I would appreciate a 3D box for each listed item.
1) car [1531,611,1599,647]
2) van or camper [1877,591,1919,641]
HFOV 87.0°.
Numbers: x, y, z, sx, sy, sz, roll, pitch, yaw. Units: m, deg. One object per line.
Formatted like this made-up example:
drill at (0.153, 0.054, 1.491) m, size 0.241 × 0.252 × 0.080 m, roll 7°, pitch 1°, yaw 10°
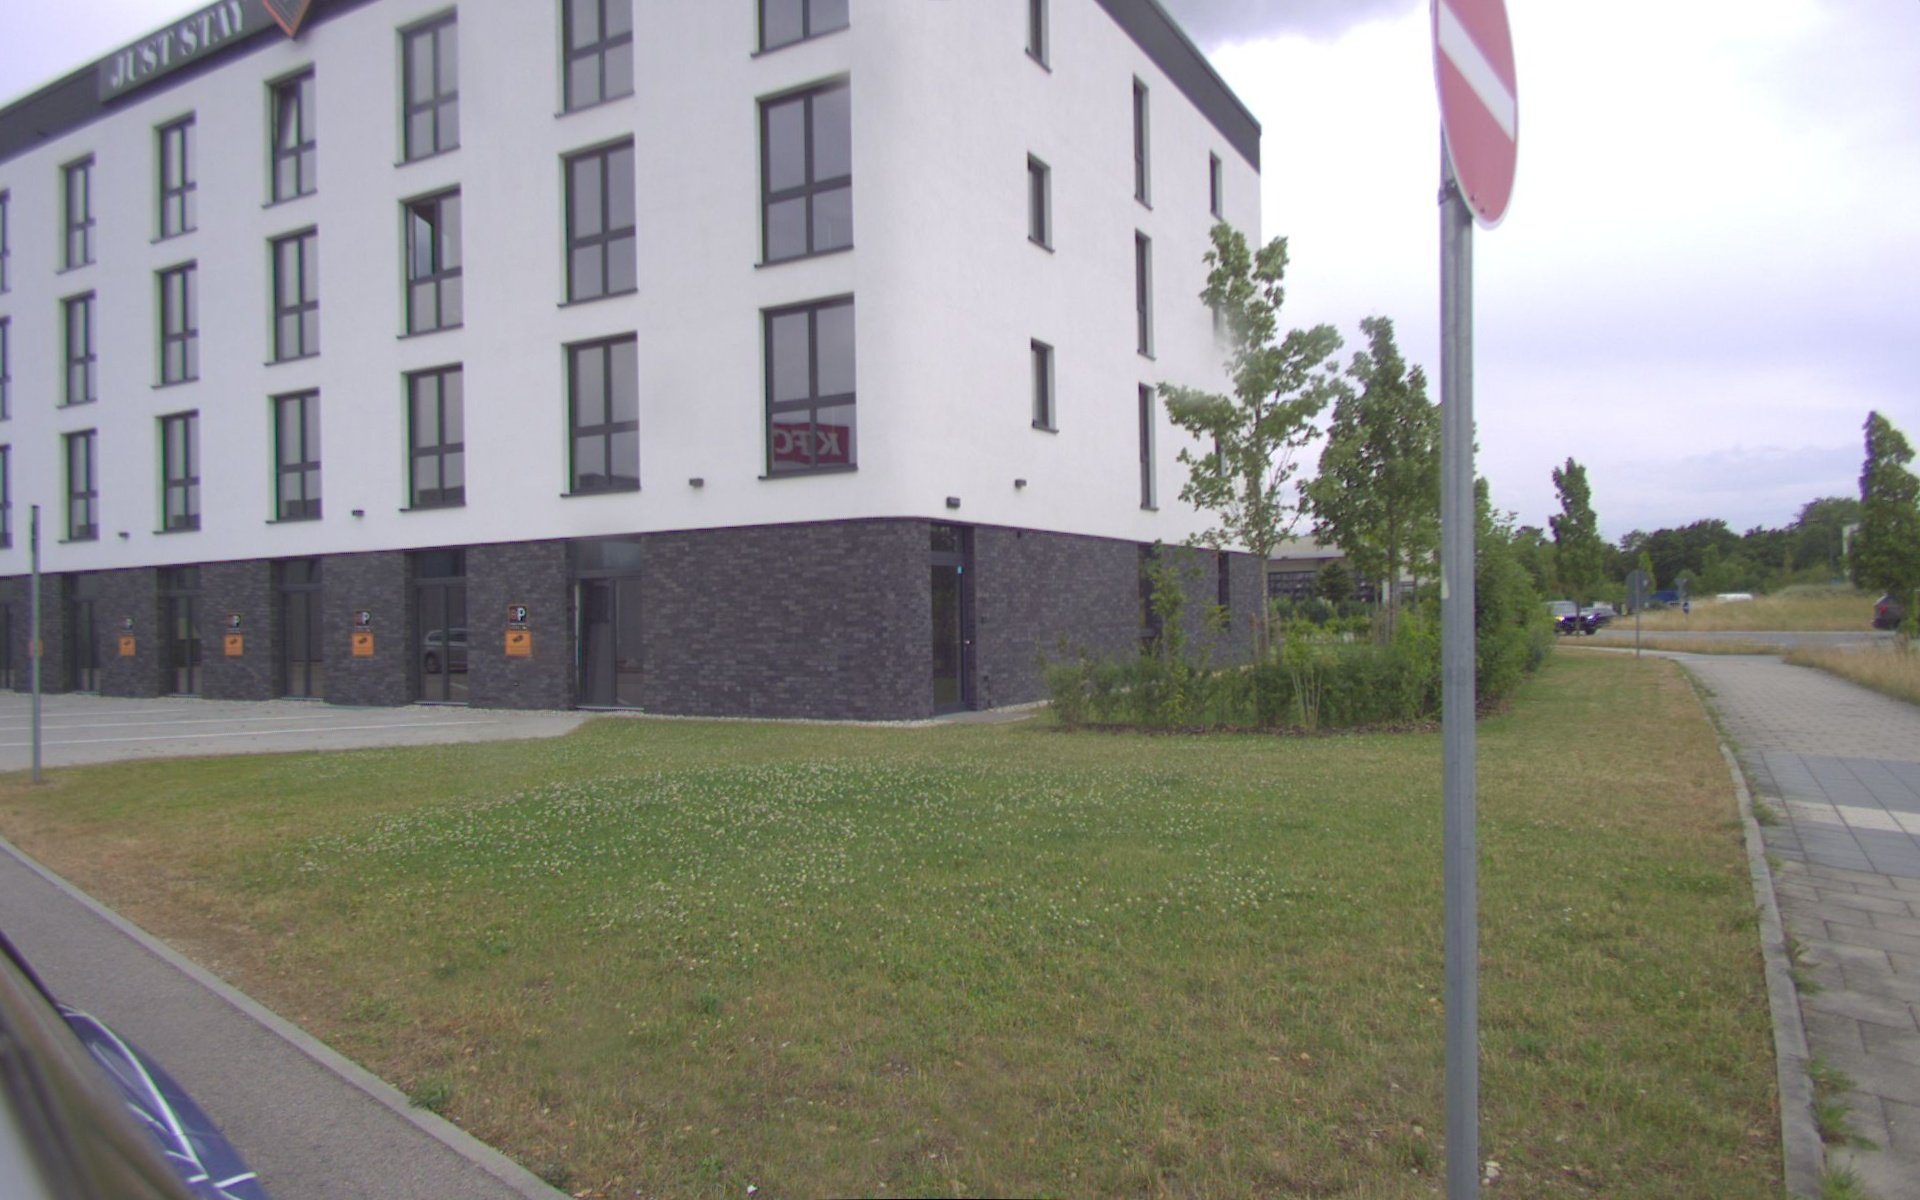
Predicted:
car at (29.859, 1.420, 50.056) m, size 1.878 × 1.652 × 3.979 m, roll -1°, pitch -1°, yaw 16°
van or camper at (35.733, 0.563, 35.967) m, size 4.570 × 1.762 × 1.973 m, roll -1°, pitch 0°, yaw 41°
